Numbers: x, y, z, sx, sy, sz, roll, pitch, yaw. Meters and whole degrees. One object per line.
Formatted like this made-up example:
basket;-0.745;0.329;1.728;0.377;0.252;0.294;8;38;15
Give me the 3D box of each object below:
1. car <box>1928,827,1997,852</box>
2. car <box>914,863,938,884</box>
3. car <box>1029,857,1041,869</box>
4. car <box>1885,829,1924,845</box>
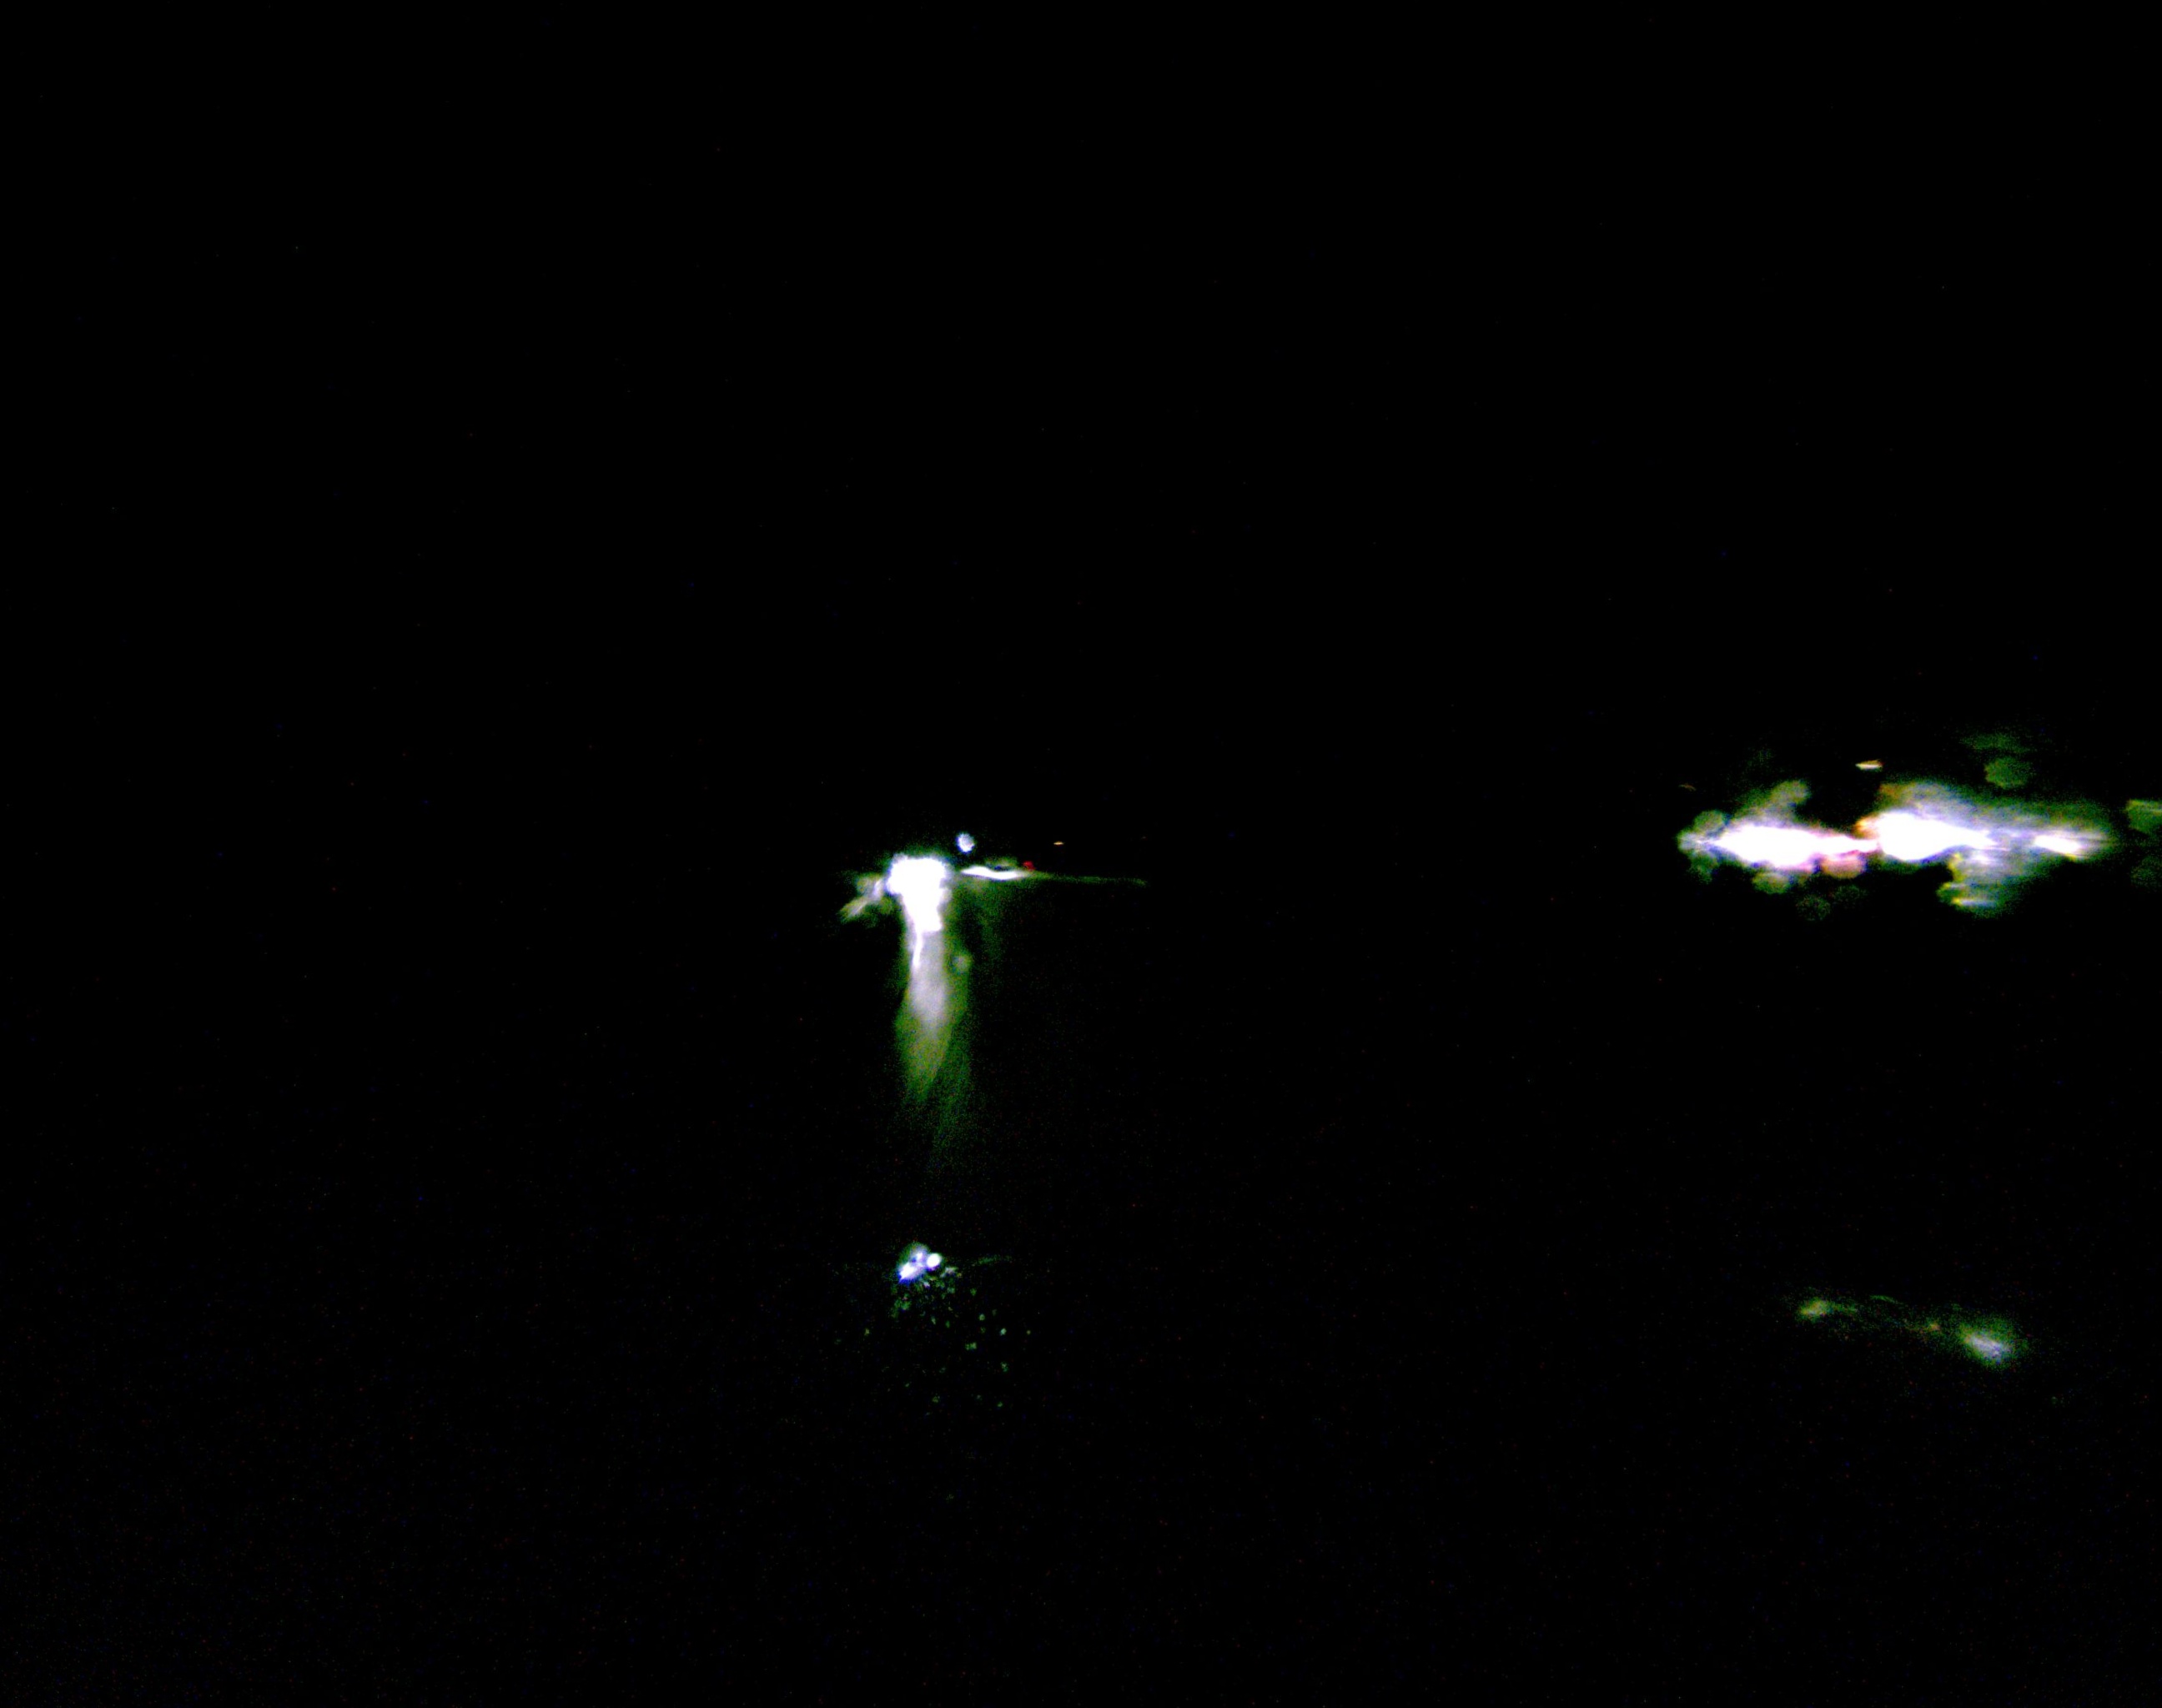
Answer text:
car;60.875;-1.015;52.558;1.917;1.587;4.007;-1;1;31
car;-14.095;1.737;69.155;2.000;1.737;4.096;-4;0;-12
car;-7.175;1.450;118.830;1.758;1.630;4.000;-5;-1;-2
car;84.189;-1.736;77.718;1.917;1.587;4.007;-1;1;35
